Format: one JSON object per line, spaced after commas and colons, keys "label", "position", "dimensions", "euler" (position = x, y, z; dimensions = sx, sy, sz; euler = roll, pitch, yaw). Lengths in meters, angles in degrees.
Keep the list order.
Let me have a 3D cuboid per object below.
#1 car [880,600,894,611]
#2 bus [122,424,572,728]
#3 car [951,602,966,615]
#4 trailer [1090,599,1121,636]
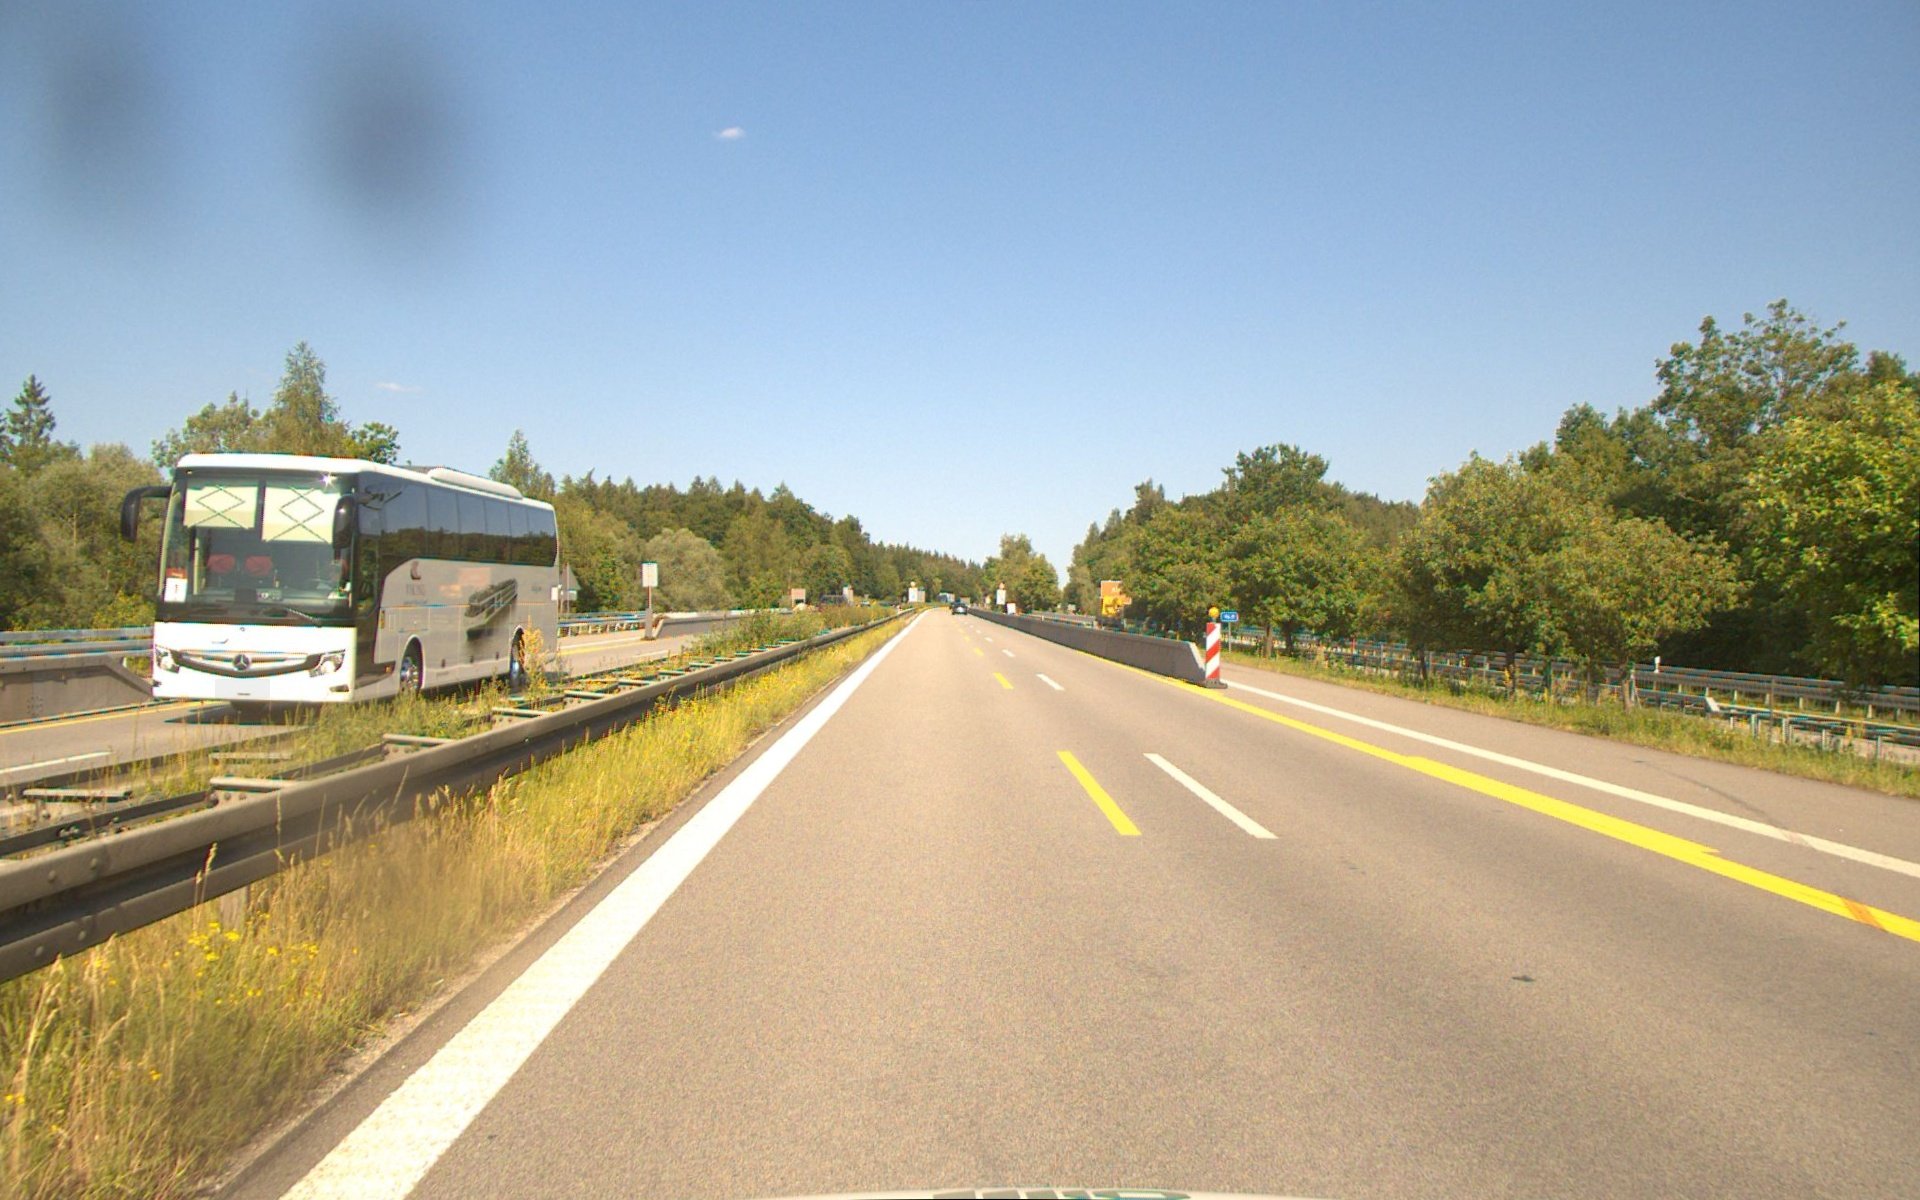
{"label": "car", "position": [-9.703, 0.760, 219.272], "dimensions": [1.612, 1.401, 4.808], "euler": [0, 0, 0]}
{"label": "bus", "position": [-9.100, -0.292, 26.944], "dimensions": [2.823, 3.735, 12.913], "euler": [1, 0, -2]}
{"label": "car", "position": [-0.180, 1.034, 197.694], "dimensions": [1.708, 1.492, 4.293], "euler": [0, 0, -1]}
{"label": "trailer", "position": [7.688, 0.887, 87.596], "dimensions": [1.102, 1.906, 3.998], "euler": [0, 0, -3]}
